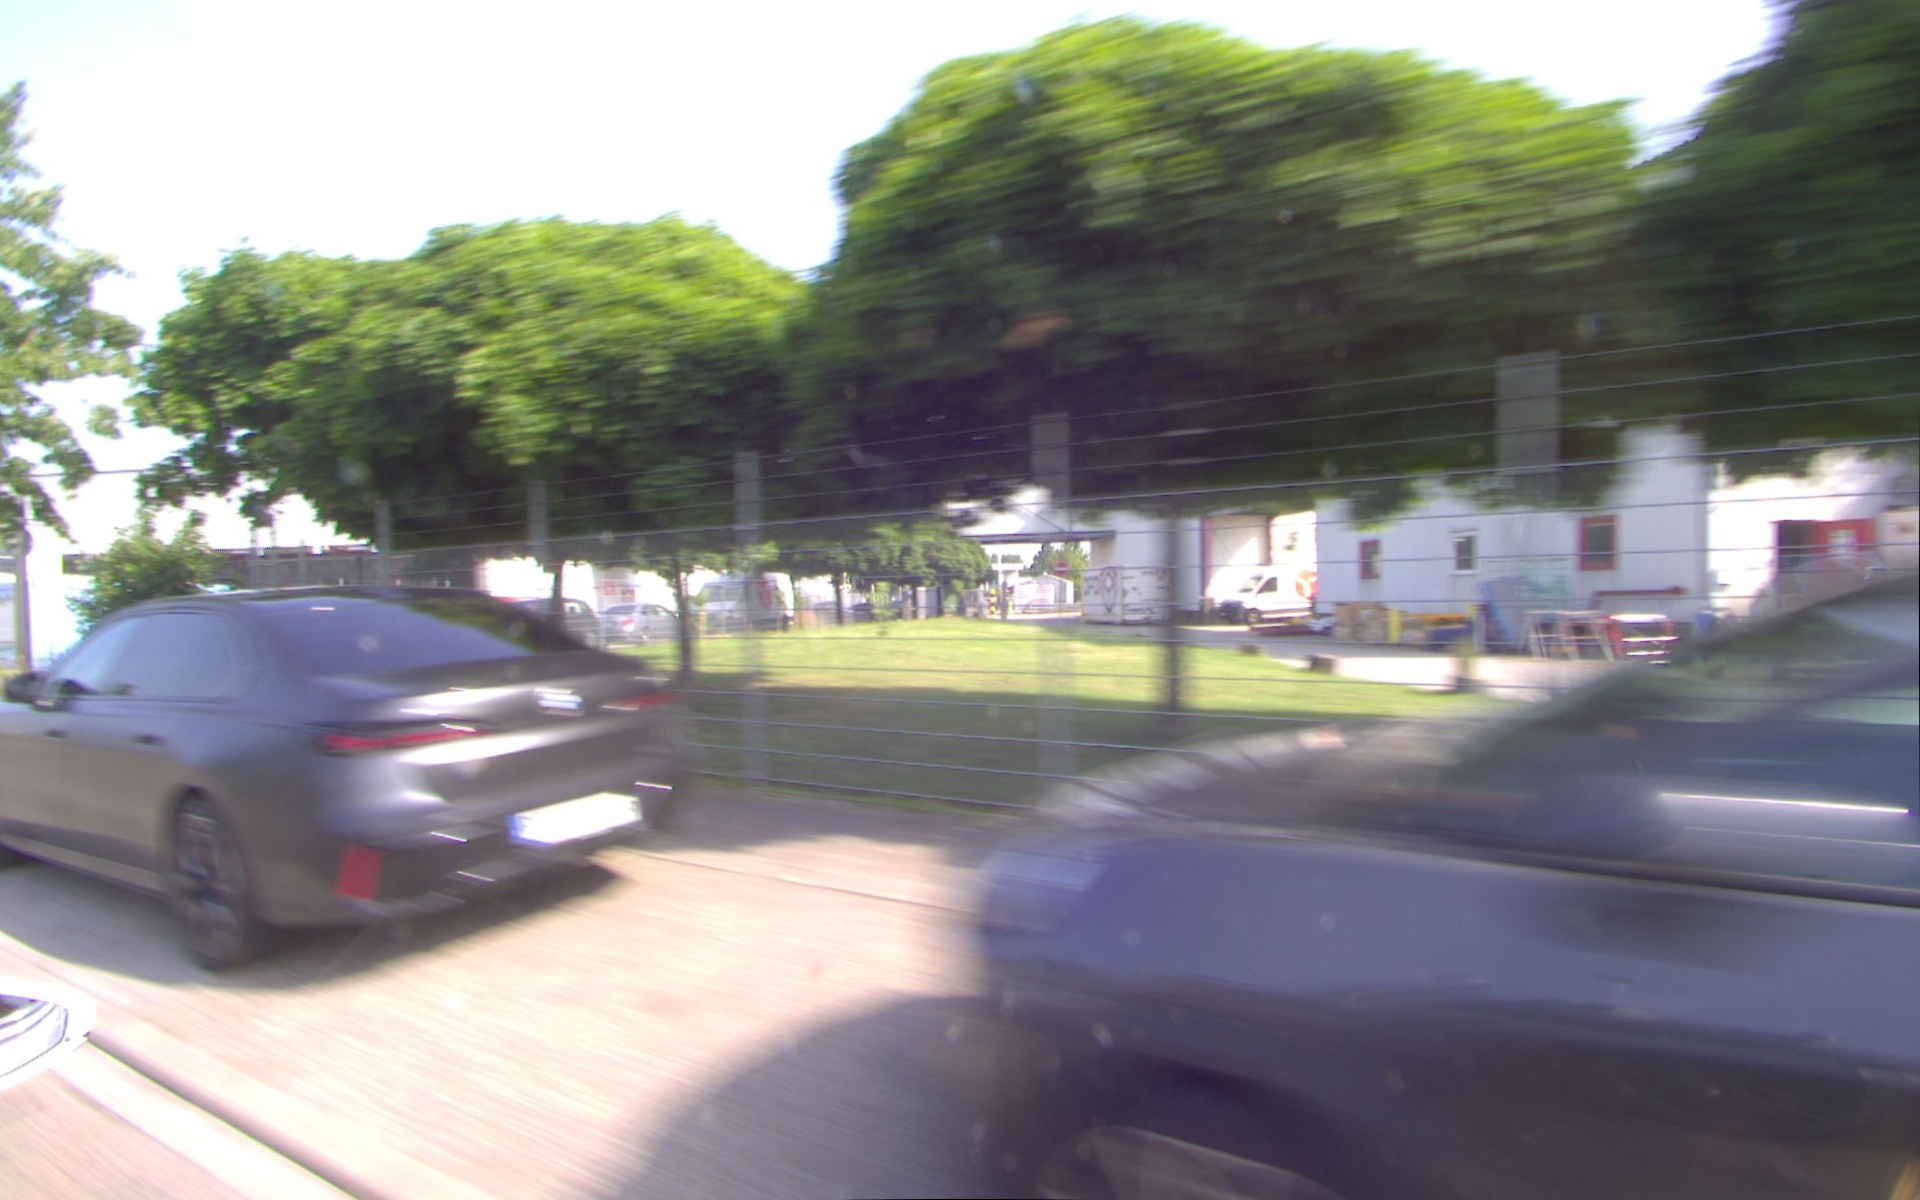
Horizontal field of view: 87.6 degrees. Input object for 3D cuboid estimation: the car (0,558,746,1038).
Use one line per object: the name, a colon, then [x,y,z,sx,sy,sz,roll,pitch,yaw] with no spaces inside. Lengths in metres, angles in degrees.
car: [-3.697,0.686,5.477,5.046,1.595,1.875,-1,2,33]

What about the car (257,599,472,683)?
car: [-12.573,0.821,21.469,1.695,1.543,3.959,-4,-1,10]

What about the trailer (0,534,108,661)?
trailer: [-31.467,-0.016,30.407,2.724,3.944,8.558,-3,-1,11]

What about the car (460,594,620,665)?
car: [-11.113,0.742,26.878,1.843,1.646,4.266,-4,-1,11]

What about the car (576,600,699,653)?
car: [-10.312,0.804,32.413,1.696,1.537,4.488,-3,-1,13]

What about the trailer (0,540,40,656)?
trailer: [-34.346,0.000,31.049,2.723,3.946,8.557,-1,1,10]

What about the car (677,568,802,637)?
car: [-8.650,0.092,40.094,2.166,2.516,6.842,1,0,13]

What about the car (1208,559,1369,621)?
car: [14.697,-0.442,44.978,6.573,2.551,2.173,-2,1,-9]

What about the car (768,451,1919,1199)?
car: [1.841,0.589,1.750,4.055,1.595,1.876,-1,2,32]
